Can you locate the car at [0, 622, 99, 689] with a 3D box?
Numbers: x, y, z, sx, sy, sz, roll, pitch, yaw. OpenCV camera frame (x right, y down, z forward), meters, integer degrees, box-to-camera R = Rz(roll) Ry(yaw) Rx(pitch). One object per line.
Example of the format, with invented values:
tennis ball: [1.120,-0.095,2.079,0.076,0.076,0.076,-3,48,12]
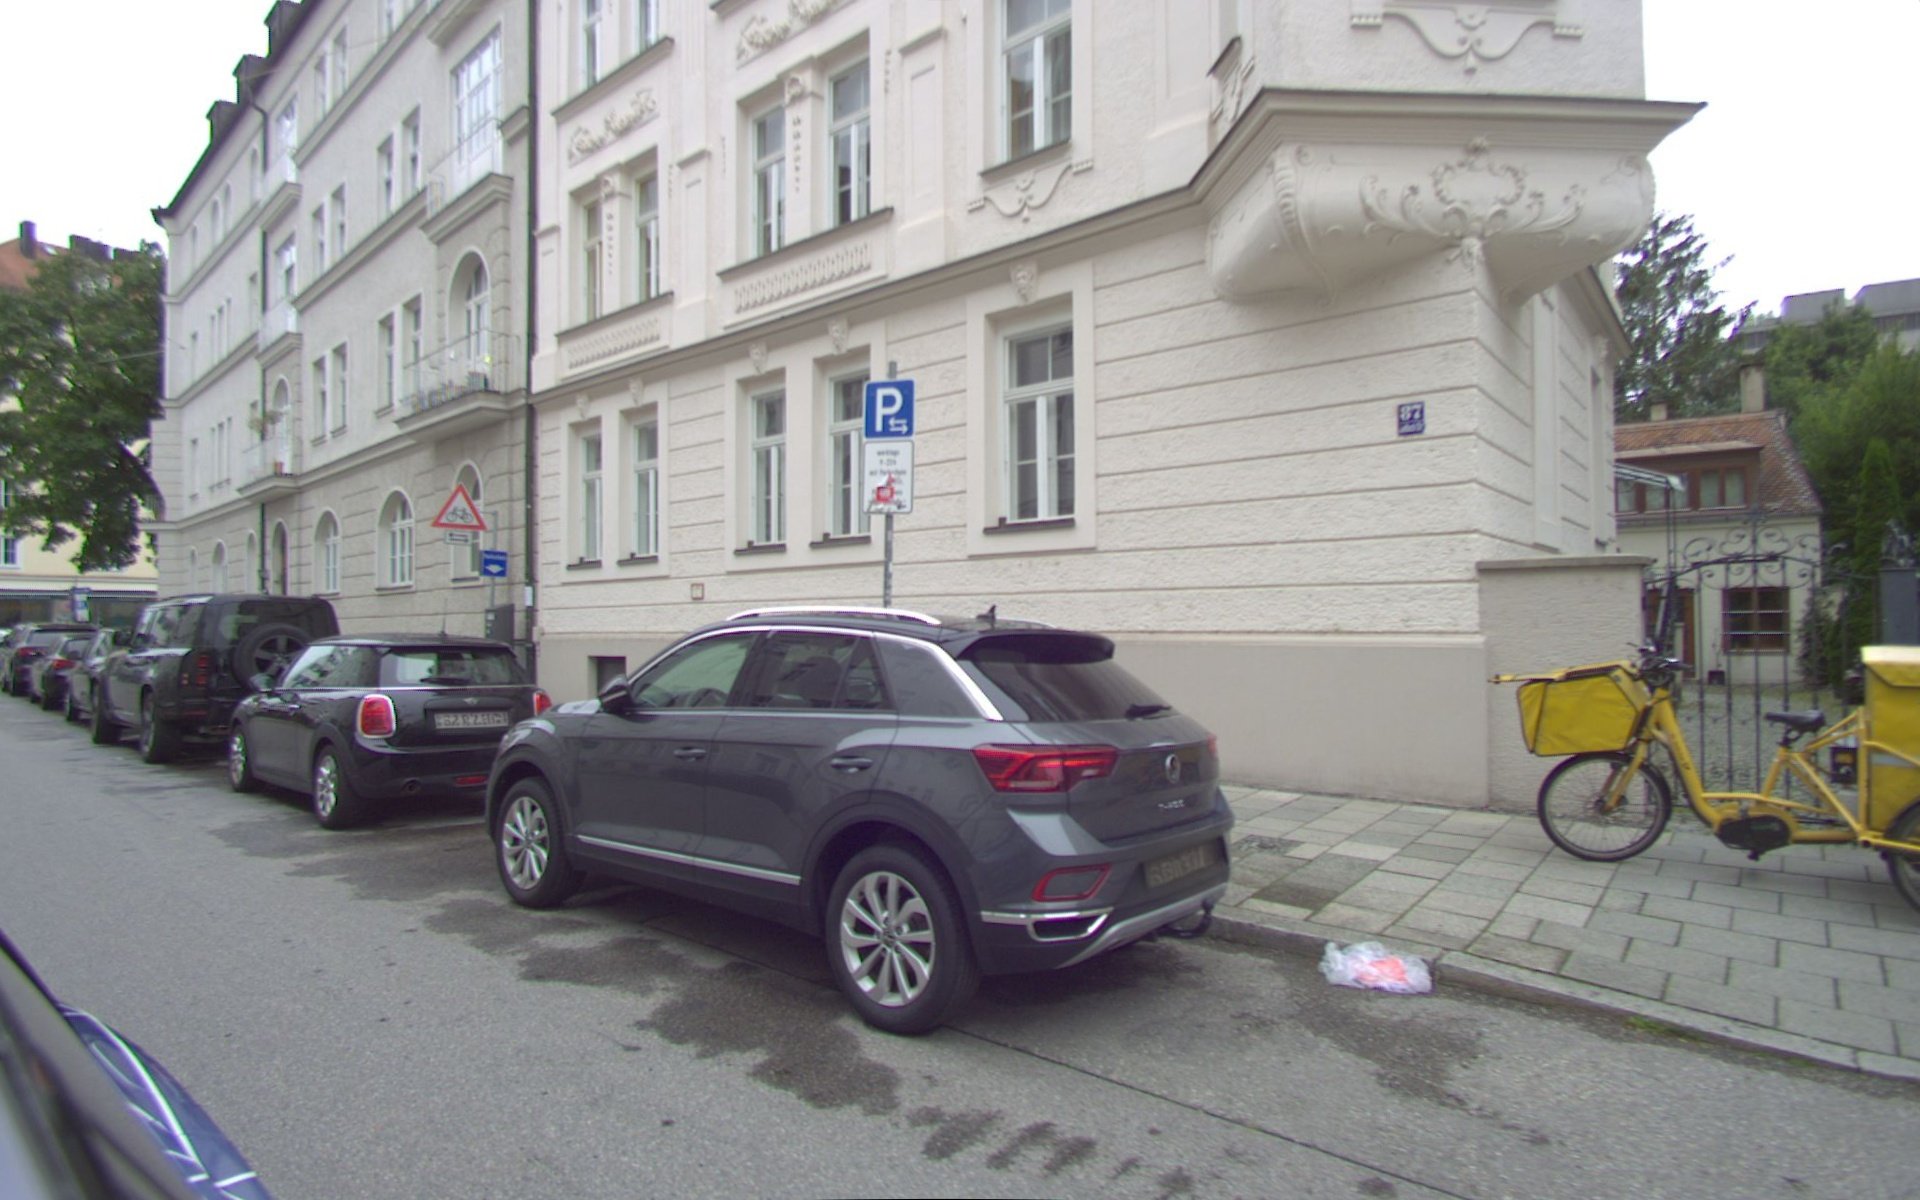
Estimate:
car: [-25.044,1.478,27.546,4.210,1.690,1.817,-2,-2,40]

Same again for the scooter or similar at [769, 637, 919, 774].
scooter or similar: [-1.135,0.960,9.689,1.547,1.209,0.526,-2,-2,41]

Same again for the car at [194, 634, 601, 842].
car: [-5.128,1.040,8.980,4.242,1.405,1.817,-2,-4,41]

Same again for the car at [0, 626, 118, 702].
car: [-21.476,1.472,23.969,4.434,1.611,1.855,-2,-2,43]

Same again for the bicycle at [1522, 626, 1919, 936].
bicycle: [4.379,0.795,4.884,2.715,1.251,1.140,-2,2,41]

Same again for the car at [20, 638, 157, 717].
car: [-17.391,1.461,20.131,4.092,1.418,1.636,-2,-3,43]

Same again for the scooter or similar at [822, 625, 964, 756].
scooter or similar: [-0.706,0.878,10.286,1.547,1.231,0.488,-2,-2,41]

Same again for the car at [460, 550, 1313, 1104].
car: [-0.611,0.751,4.981,4.116,1.631,1.710,-2,-4,39]

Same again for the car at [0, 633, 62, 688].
car: [-29.057,1.810,30.942,3.945,1.580,1.678,-1,-1,38]

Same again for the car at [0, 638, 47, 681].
car: [-32.489,2.000,34.302,4.475,1.404,1.664,-2,-3,40]

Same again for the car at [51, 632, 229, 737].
car: [-13.365,1.295,16.441,3.529,1.525,1.600,-2,-3,40]

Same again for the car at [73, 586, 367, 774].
car: [-9.267,0.920,12.518,4.759,1.909,1.817,-2,-4,40]
